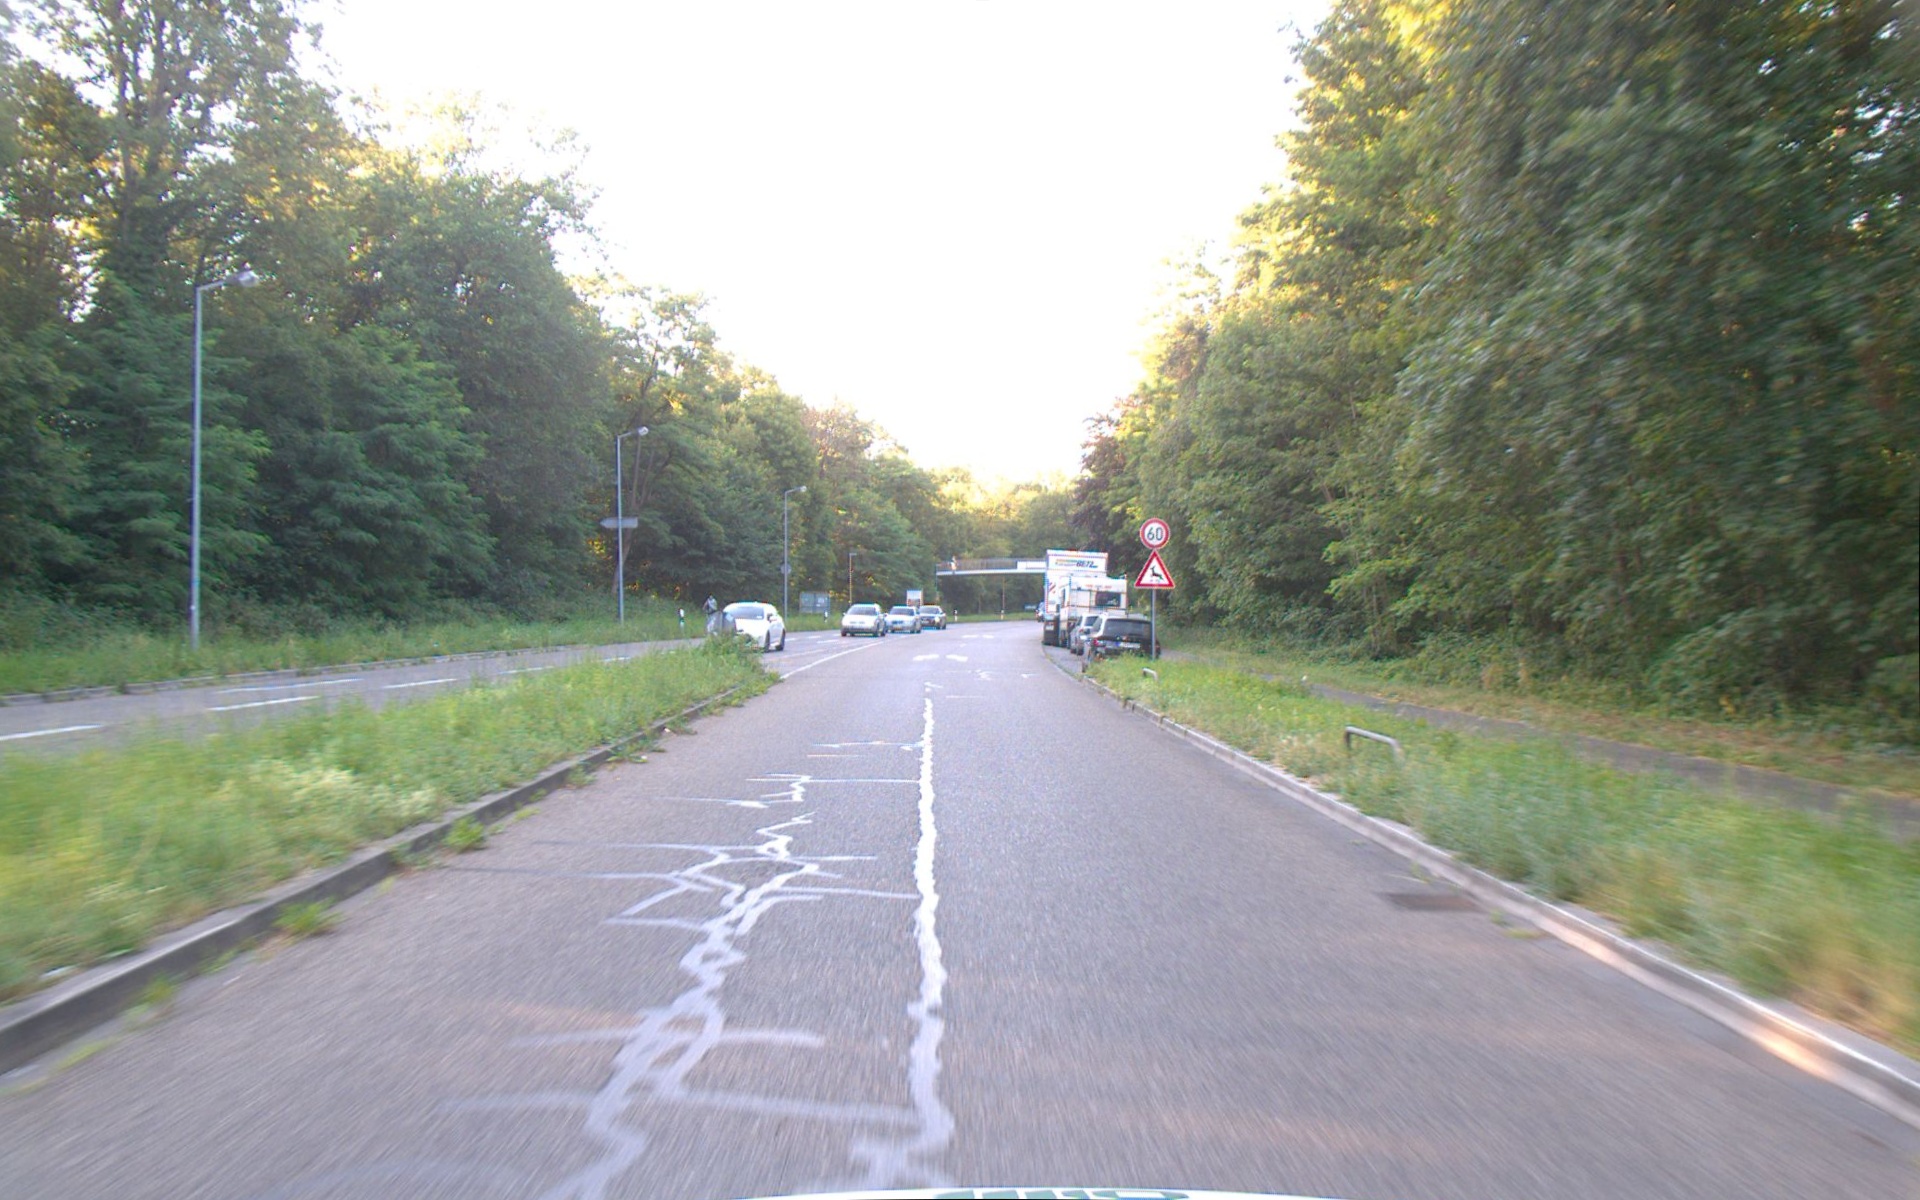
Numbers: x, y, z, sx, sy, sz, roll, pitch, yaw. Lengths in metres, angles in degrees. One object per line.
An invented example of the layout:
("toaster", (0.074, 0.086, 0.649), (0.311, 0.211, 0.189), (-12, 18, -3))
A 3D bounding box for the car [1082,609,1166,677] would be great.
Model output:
("car", (3.794, 0.977, 38.693), (1.629, 1.430, 3.943), (3, 0, 2))

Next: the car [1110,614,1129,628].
("car", (16.211, 2.127, 168.465), (1.852, 1.473, 4.112), (0, 0, 5))

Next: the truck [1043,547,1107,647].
("truck", (5.020, -0.094, 73.364), (2.602, 4.098, 9.725), (1, 0, 3))

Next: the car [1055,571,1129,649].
("car", (5.148, 0.406, 65.360), (2.359, 2.908, 5.931), (1, -1, -1))

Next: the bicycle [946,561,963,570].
("bicycle", (-0.605, -3.763, 180.706), (1.805, 0.965, 0.551), (1, 0, 10))

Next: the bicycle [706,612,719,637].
("bicycle", (-12.685, 1.225, 84.613), (0.618, 1.239, 2.256), (0, 0, -10))

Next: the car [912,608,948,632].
("car", (-1.903, 1.260, 106.233), (1.852, 1.465, 4.772), (2, 0, 4))

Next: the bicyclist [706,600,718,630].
("bicyclist", (-12.674, 0.752, 84.539), (0.608, 1.537, 0.845), (0, 1, -10))

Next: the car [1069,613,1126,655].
("car", (4.839, 1.173, 58.555), (1.663, 1.430, 4.075), (0, 0, 0))

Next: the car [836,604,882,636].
("car", (-4.659, 0.909, 77.030), (1.680, 1.471, 4.175), (0, 0, 3))

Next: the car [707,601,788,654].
("car", (-6.433, 0.869, 50.498), (1.798, 1.534, 3.938), (0, -2, 2))

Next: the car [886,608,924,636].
("car", (-2.936, 1.170, 89.098), (1.684, 1.422, 4.377), (0, 0, 3))
